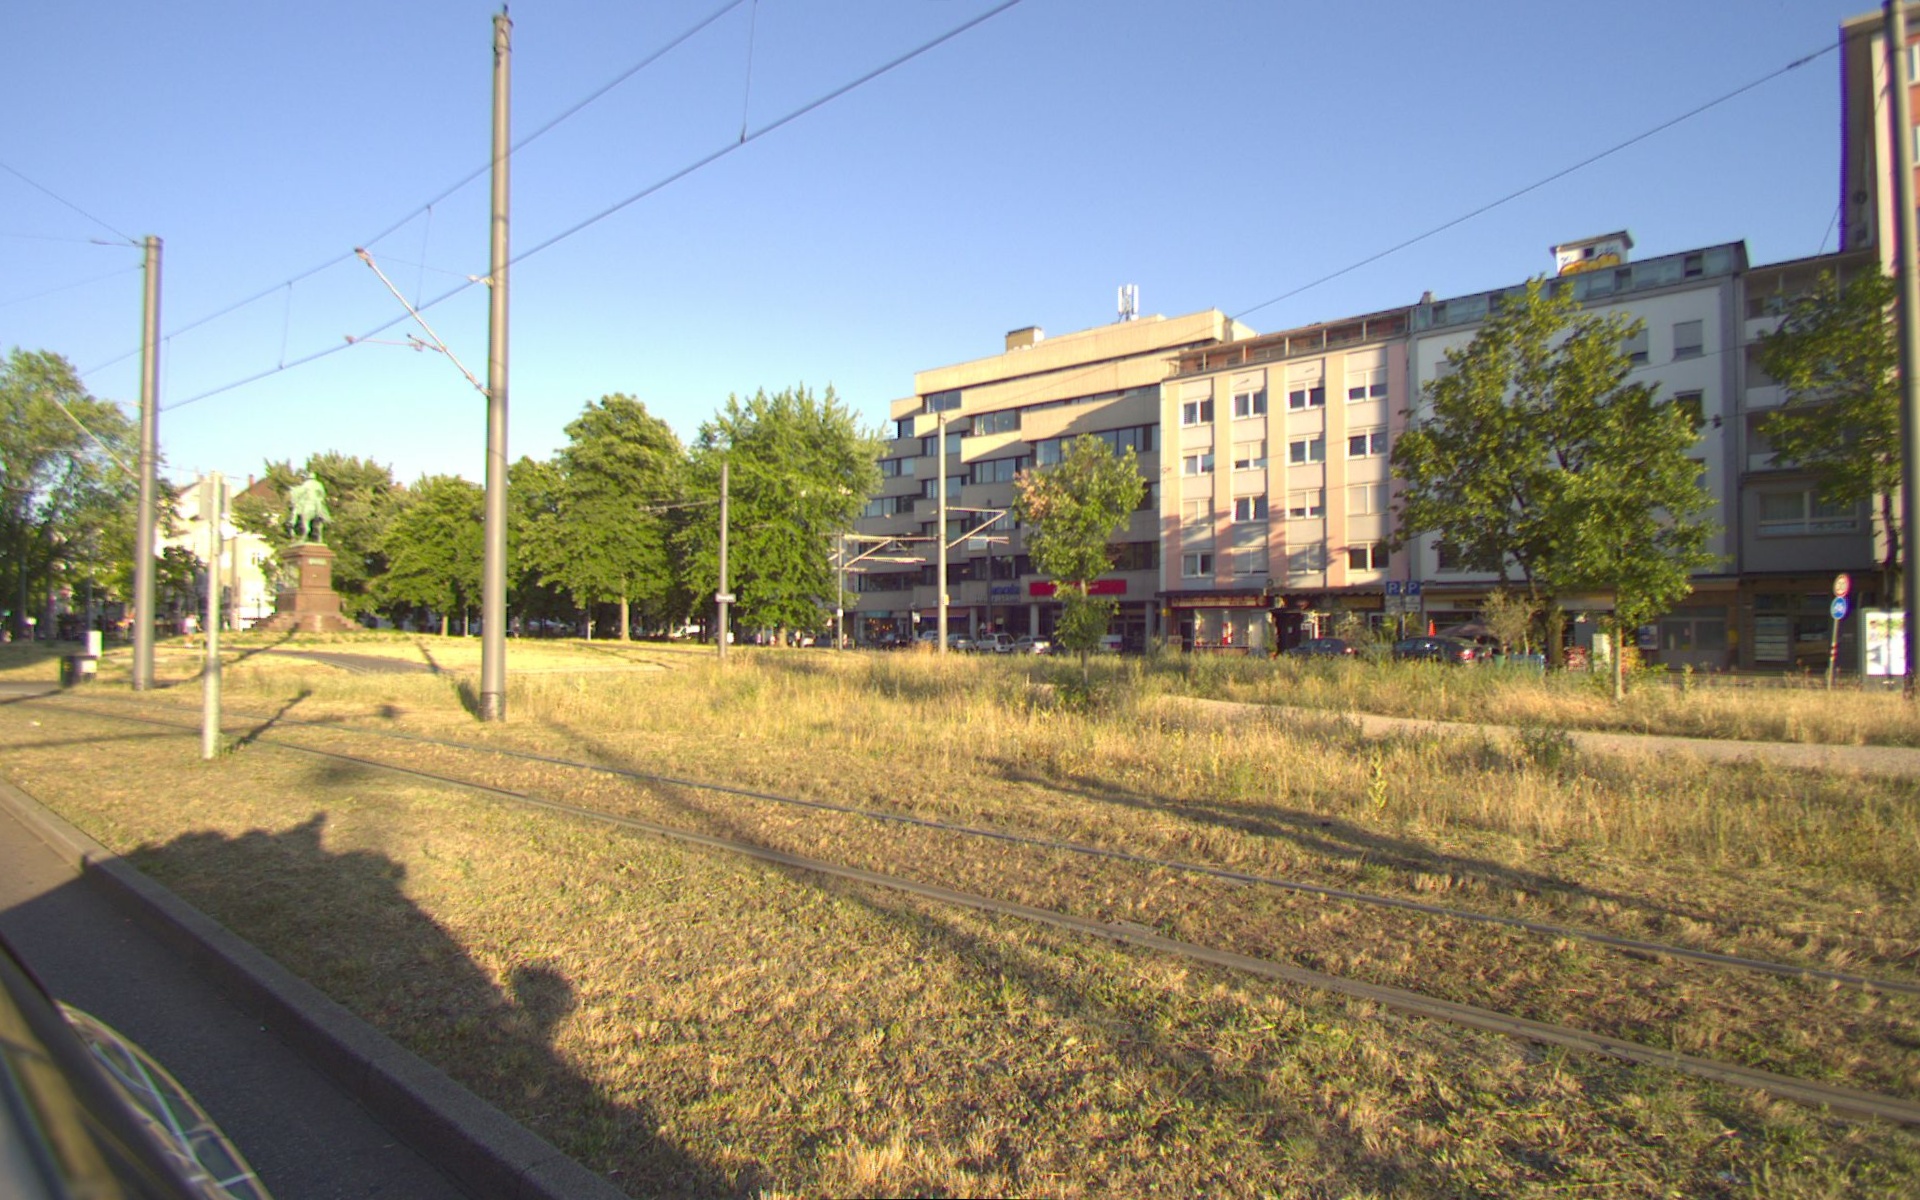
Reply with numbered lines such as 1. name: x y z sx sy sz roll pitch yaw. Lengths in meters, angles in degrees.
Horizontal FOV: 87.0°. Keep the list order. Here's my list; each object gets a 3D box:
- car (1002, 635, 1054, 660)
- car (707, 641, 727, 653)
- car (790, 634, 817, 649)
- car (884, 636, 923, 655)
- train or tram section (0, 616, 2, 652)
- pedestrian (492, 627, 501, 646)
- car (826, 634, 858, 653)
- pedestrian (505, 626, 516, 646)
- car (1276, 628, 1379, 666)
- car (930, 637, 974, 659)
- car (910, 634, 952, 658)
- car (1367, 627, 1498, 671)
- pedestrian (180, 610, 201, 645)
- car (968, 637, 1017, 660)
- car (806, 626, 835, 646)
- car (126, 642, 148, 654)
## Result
1. car: 4.383 3.119 65.973 1.729 1.564 4.013 0 -3 -24
2. car: -34.108 6.571 142.227 1.833 1.569 4.081 0 -3 -27
3. car: -16.112 4.269 104.083 1.681 1.401 4.013 0 -3 -25
4. car: -4.903 3.891 86.907 1.833 1.569 4.081 0 -3 -27
5. train or tram section: -84.535 2.818 82.957 2.877 3.165 12.679 0 -1 -14
6. pedestrian: -36.283 2.857 79.207 0.553 1.524 0.447 -4 -4 42
7. car: -11.881 4.344 101.576 1.906 1.808 4.222 0 -3 -27
8. pedestrian: -35.357 2.849 79.580 0.553 1.593 0.611 -4 -4 42
9. car: 15.638 2.019 43.288 1.729 1.538 4.012 0 -3 -27
10. car: -0.624 3.602 76.020 1.729 1.564 4.012 0 -3 -27
11. car: -2.337 3.692 81.099 1.729 1.808 4.222 0 -3 -27
12. car: 17.895 1.880 38.521 1.729 1.538 4.305 0 -3 -27
13. pedestrian: -38.011 1.379 49.988 0.831 1.703 0.472 -2 -3 26
14. car: 2.231 3.388 70.647 1.729 1.564 4.012 0 -3 -27
15. car: -14.775 3.818 106.894 1.729 1.959 4.222 0 -3 -27
16. car: -113.081 6.618 139.094 3.965 1.564 1.701 -3 -4 41
